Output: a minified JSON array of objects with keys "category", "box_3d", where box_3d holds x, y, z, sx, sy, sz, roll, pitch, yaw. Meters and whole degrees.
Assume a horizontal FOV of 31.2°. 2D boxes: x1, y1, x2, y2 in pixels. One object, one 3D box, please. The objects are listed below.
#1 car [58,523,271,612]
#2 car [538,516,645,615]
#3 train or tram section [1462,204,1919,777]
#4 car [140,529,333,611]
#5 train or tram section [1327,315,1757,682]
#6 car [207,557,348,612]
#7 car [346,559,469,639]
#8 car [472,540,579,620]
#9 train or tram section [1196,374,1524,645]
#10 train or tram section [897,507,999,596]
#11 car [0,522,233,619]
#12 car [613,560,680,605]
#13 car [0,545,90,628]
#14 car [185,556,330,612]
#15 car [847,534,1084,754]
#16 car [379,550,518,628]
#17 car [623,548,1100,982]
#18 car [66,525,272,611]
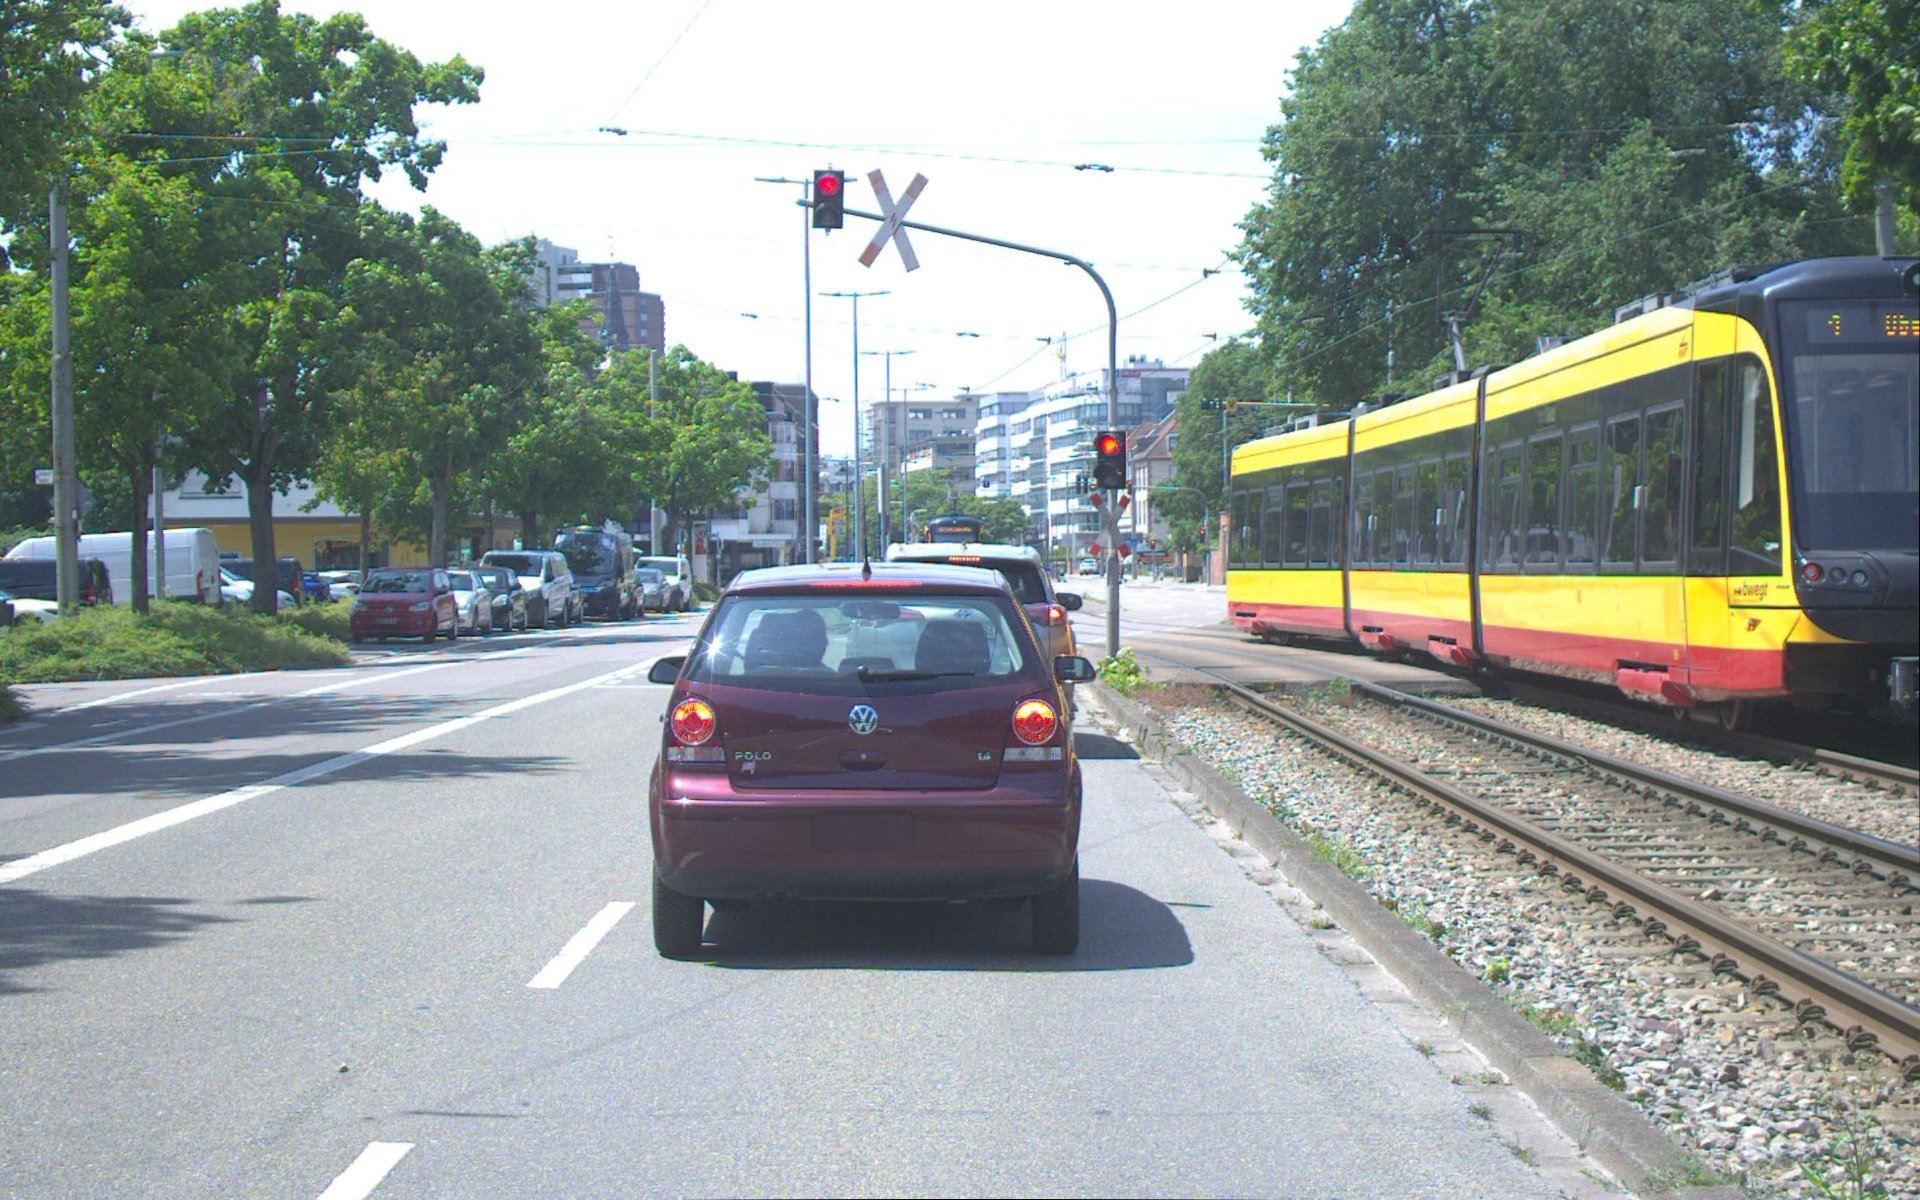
[{"category":"car","box_3d":[-21.422,-0.871,92.734,5.097,2.237,2.378,1,0,1]},{"category":"car","box_3d":[-10.453,-0.955,97.848,2.361,2.683,5.307,1,0,1]},{"category":"train or tram section","box_3d":[6.773,-0.837,29.339,3.028,3.785,13.090,-1,1,0]},{"category":"car","box_3d":[-21.235,-0.871,101.113,5.097,2.237,2.378,1,0,1]},{"category":"train or tram section","box_3d":[6.747,-1.157,42.269,3.028,3.785,13.090,-1,1,0]},{"category":"car","box_3d":[-21.511,-0.486,108.479,4.020,1.611,1.816,1,0,1]},{"category":"car","box_3d":[-10.890,-0.023,68.022,1.663,1.492,4.000,1,0,1]},{"category":"car","box_3d":[-10.684,-0.469,84.808,1.783,1.875,4.785,1,0,2]},{"category":"train or tram section","box_3d":[6.096,-1.380,54.913,3.028,3.785,12.762,-1,1,-3]},{"category":"train or tram section","box_3d":[-0.594,-2.118,147.644,2.740,3.597,12.873,1,1,-7]},{"category":"car","box_3d":[-20.754,-0.712,84.681,5.097,2.237,2.378,1,0,1]},{"category":"car","box_3d":[-10.522,-0.579,115.506,1.614,1.436,3.999,1,0,3]},{"category":"car","box_3d":[-21.027,-0.278,74.156,3.987,1.740,1.998,-1,1,-1]},{"category":"car","box_3d":[-21.521,-0.485,105.398,4.020,1.611,1.816,1,0,1]},{"category":"car","box_3d":[0.003,0.306,28.224,1.777,1.641,4.000,1,1,-1]},{"category":"car","box_3d":[-11.046,-0.236,74.571,1.976,1.595,4.557,1,0,4]},{"category":"car","box_3d":[-0.389,0.561,14.261,1.672,1.516,4.000,1,1,-1]},{"category":"car","box_3d":[-22.026,-0.889,95.884,5.097,2.237,2.378,1,0,1]}]
